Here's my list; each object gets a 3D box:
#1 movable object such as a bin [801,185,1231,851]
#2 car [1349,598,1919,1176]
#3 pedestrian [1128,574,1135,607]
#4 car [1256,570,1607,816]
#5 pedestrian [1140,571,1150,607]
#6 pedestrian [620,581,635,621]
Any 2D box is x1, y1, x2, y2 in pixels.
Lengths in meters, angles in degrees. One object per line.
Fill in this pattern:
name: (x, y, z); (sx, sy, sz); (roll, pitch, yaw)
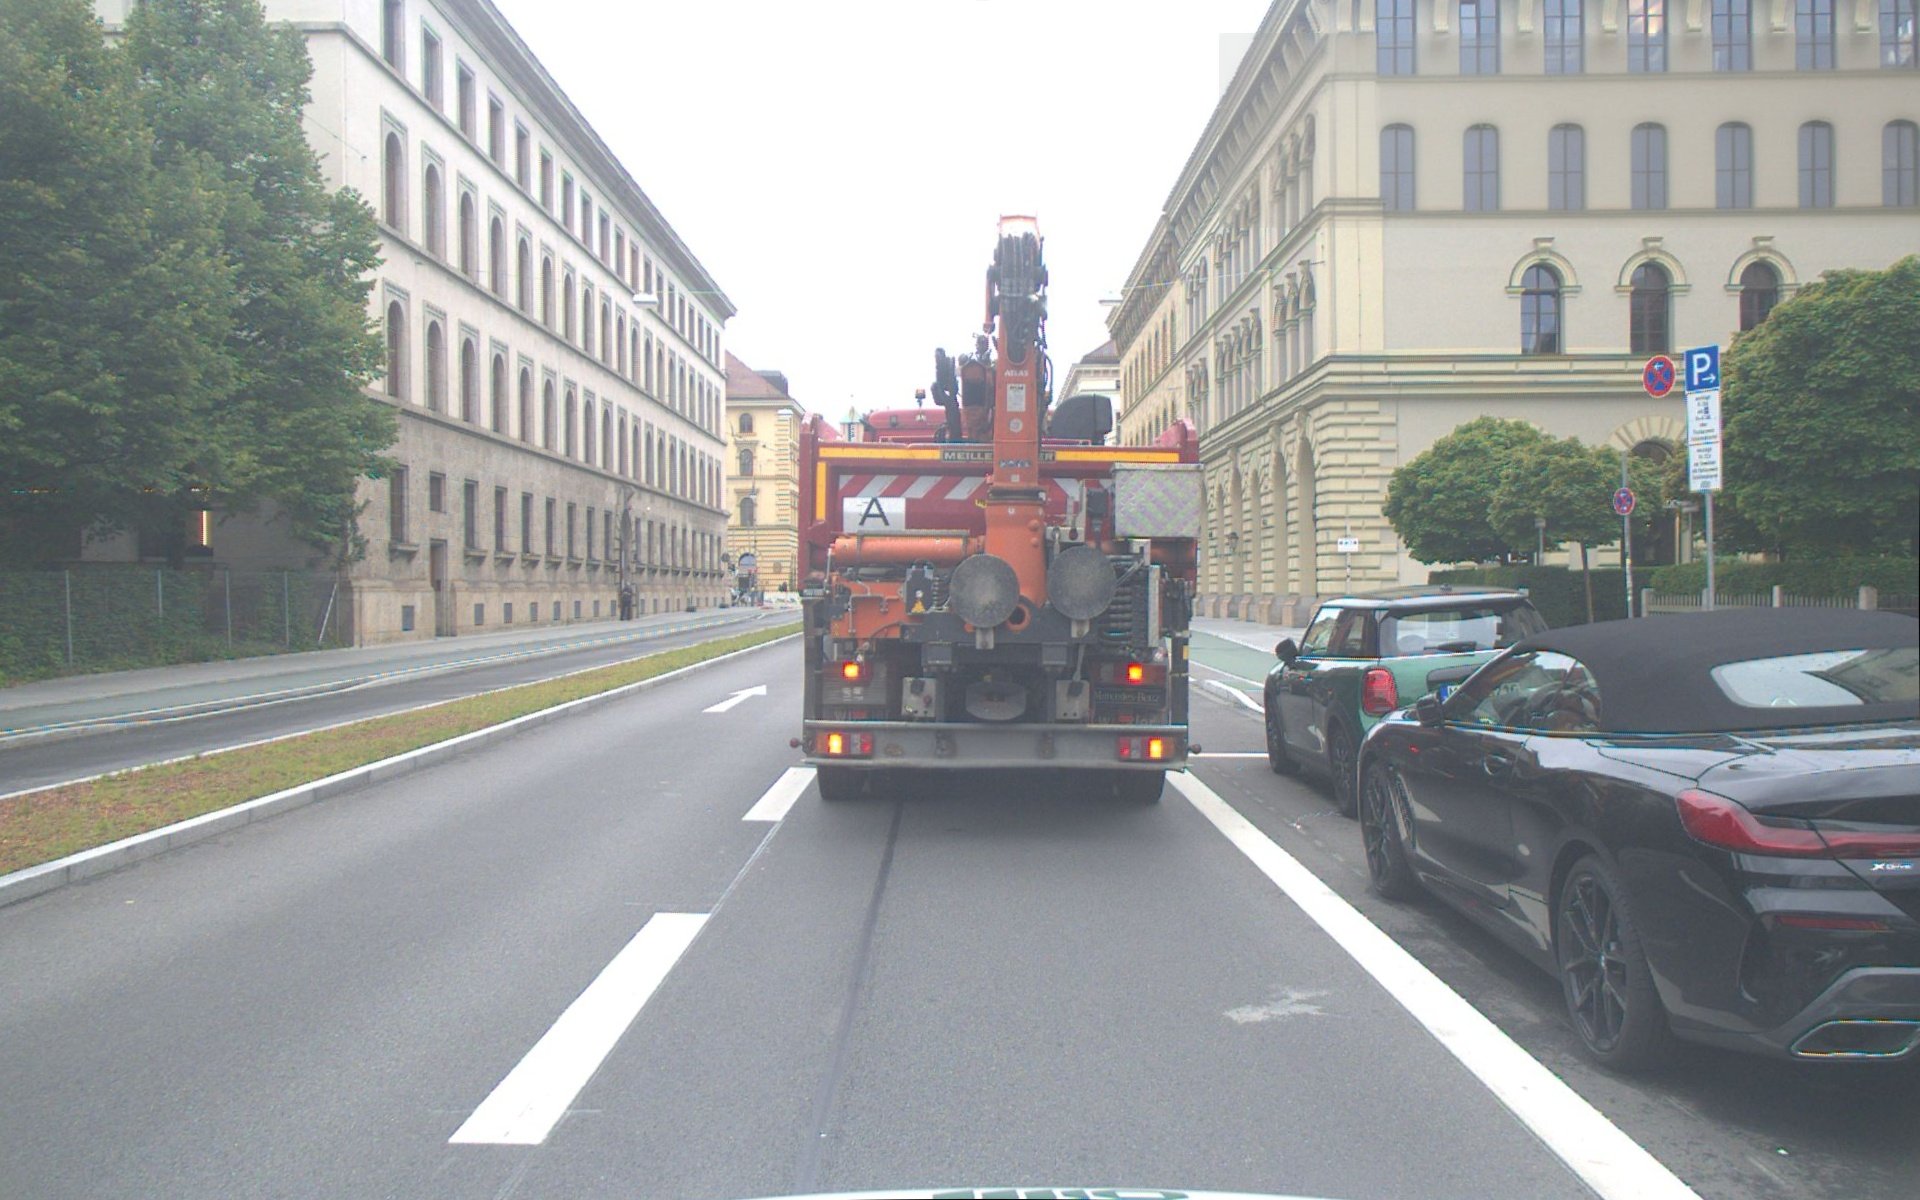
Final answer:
movable object such as a bin: (0.265, -0.489, 12.085); (2.374, 3.674, 5.850); (0, 1, -1)
car: (2.853, 0.726, 6.389); (1.646, 1.410, 4.426); (0, 1, 0)
pedestrian: (8.974, -0.504, 86.506); (0.330, 1.701, 0.440); (-1, 0, 1)
car: (3.269, 0.562, 12.104); (1.577, 1.521, 3.424); (-1, 1, 0)
pedestrian: (9.674, -0.595, 86.478); (0.436, 1.868, 0.556); (-1, 0, 1)
pedestrian: (-15.292, 0.041, 76.040); (0.577, 1.863, 0.498); (0, 1, -1)
